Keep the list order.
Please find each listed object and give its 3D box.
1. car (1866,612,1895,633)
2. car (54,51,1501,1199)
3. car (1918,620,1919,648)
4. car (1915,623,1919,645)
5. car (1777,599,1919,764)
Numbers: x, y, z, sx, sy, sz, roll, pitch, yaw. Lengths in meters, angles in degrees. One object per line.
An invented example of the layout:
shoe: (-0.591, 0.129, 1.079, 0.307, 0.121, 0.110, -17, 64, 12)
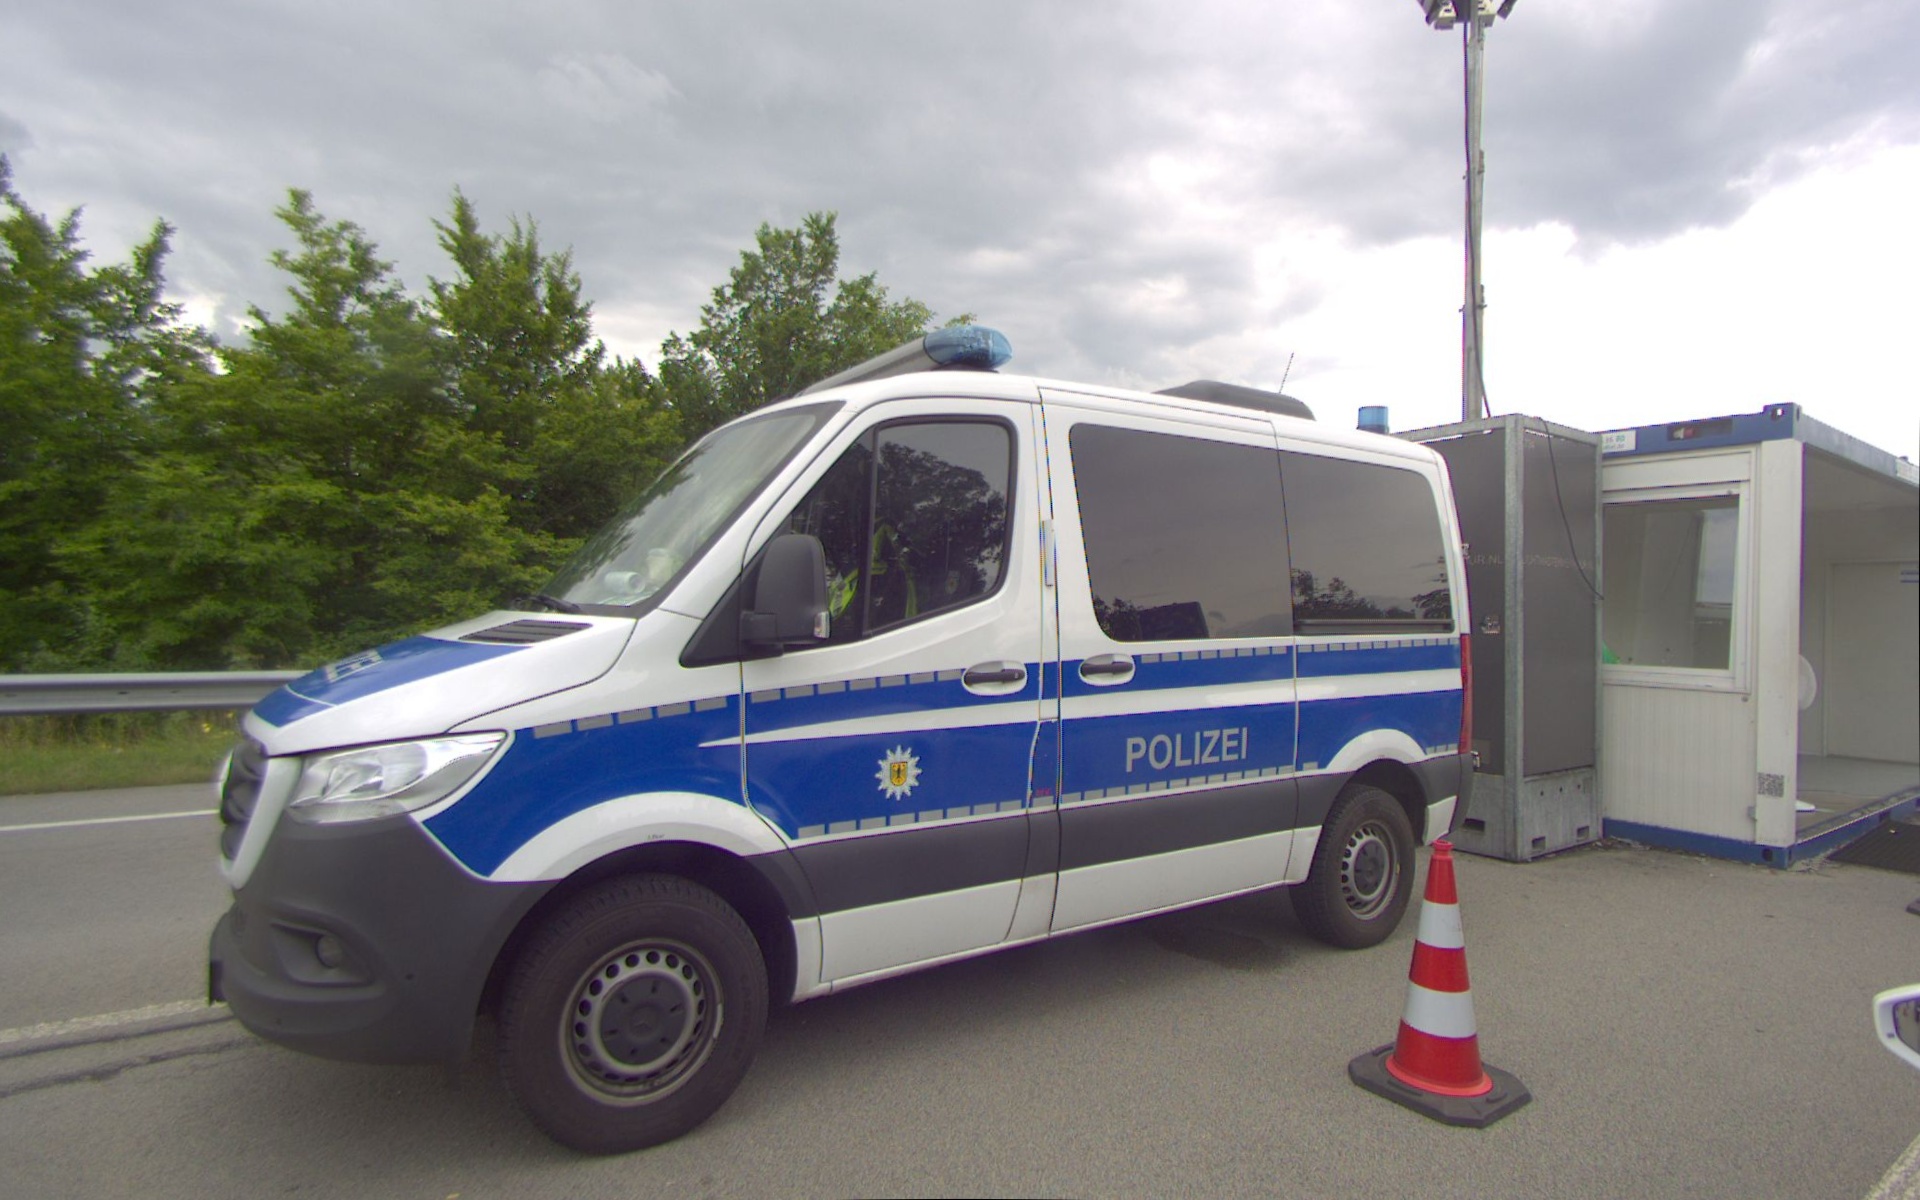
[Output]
car: (99.225, 2.413, 108.322, 1.831, 2.252, 4.242, 1, 0, 36)
car: (-0.117, 0.233, 4.256, 5.224, 2.496, 2.017, 1, 0, -34)
car: (55.800, 1.958, 57.045, 4.227, 1.518, 1.837, 2, 0, -44)
car: (67.152, 2.366, 69.162, 1.834, 1.518, 4.235, 1, 0, 41)
car: (11.788, 0.916, 12.176, 3.967, 1.767, 1.857, 1, 0, -34)
